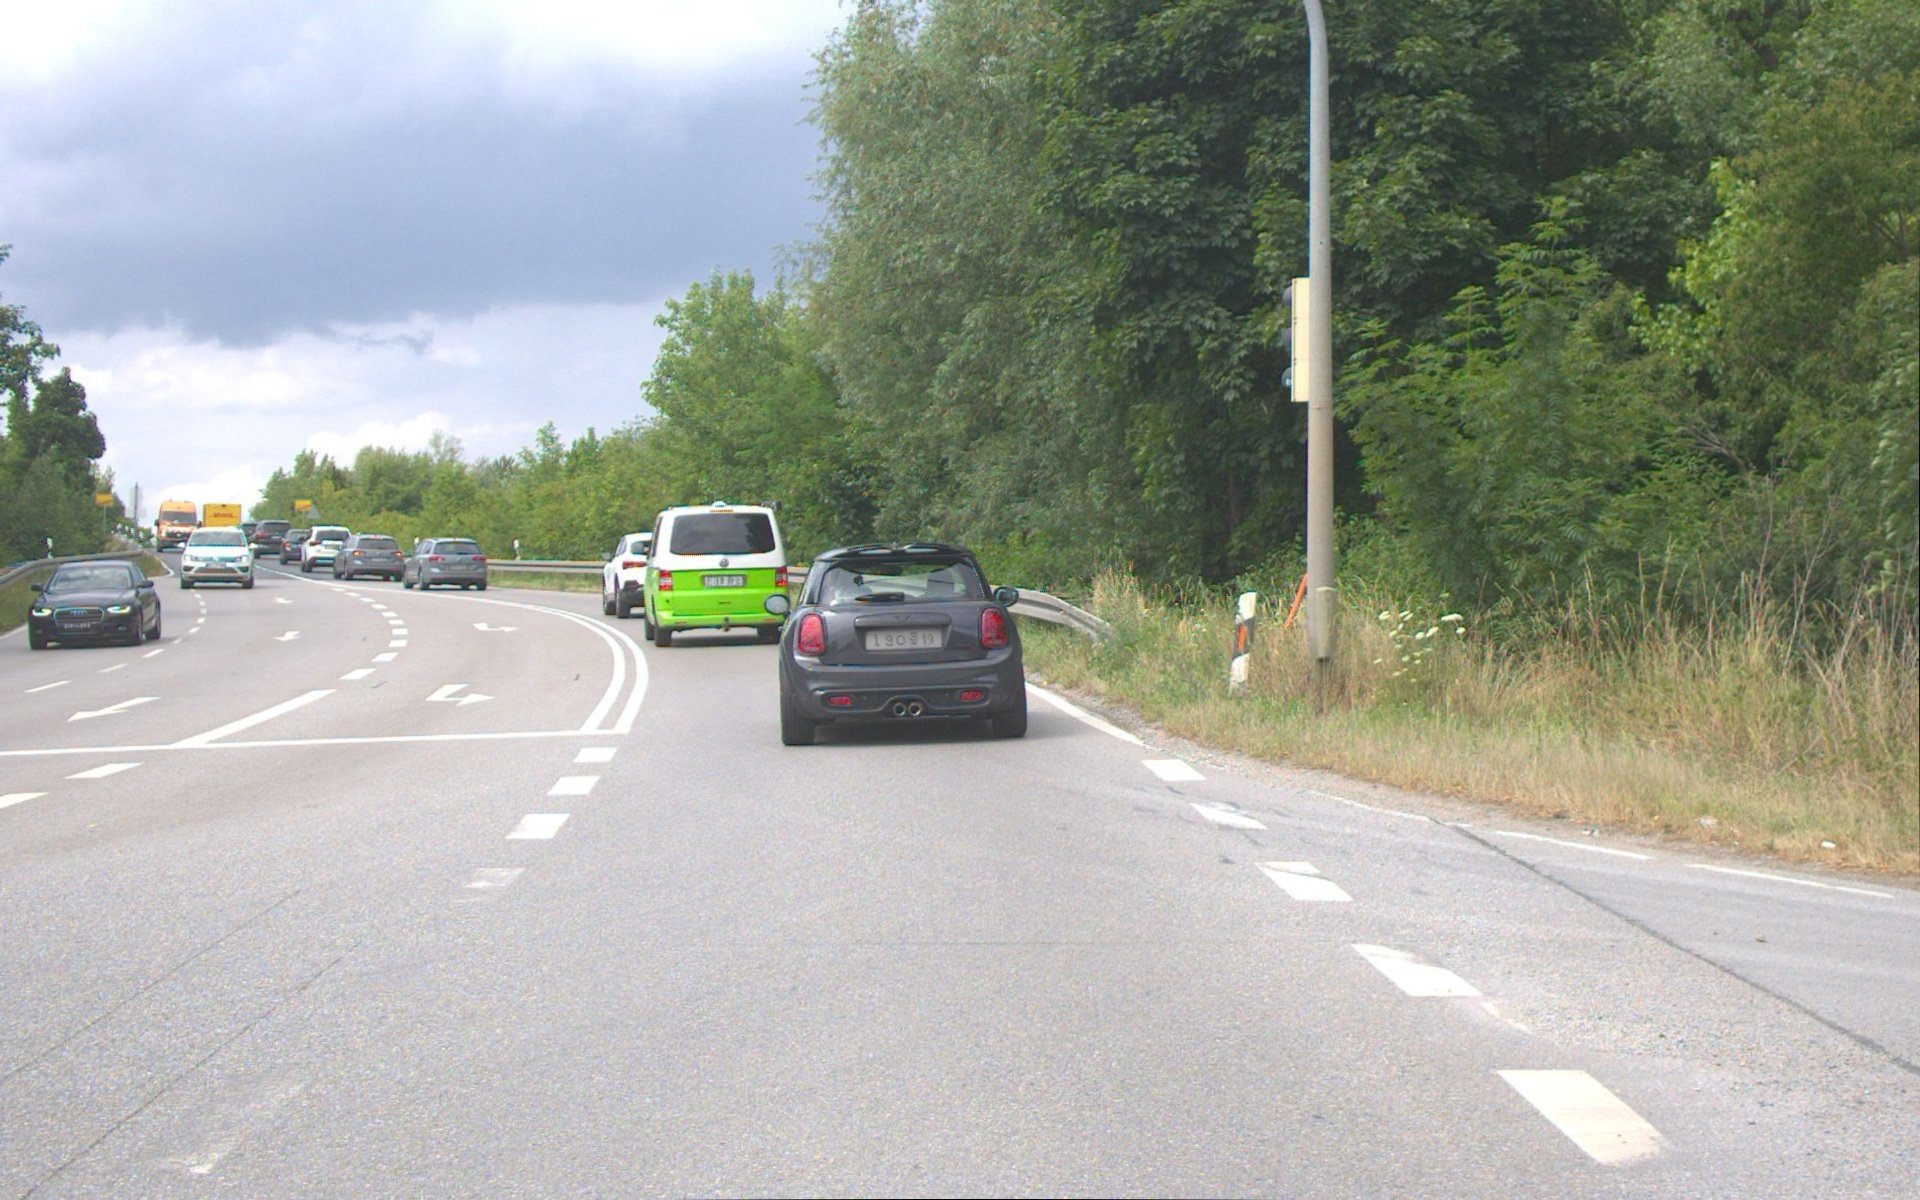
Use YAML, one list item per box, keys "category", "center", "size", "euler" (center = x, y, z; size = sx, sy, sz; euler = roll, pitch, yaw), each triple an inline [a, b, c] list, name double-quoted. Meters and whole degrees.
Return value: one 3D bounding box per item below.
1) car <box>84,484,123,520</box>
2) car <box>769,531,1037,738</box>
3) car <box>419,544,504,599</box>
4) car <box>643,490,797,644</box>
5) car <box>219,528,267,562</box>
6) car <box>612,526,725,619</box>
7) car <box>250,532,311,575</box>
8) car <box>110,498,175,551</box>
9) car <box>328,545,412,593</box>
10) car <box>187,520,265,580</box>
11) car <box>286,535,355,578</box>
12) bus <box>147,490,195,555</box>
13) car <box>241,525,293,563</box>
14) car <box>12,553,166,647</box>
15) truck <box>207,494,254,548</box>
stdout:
- category: "car"
  center: [-47.784, -5.463, 191.844]
  size: [1.993, 2.007, 4.001]
  euler: [0, 1, -12]
- category: "car"
  center: [-0.482, 0.220, 25.583]
  size: [1.844, 1.423, 3.841]
  euler: [0, 0, -3]
- category: "car"
  center: [-13.810, -0.782, 95.093]
  size: [1.993, 1.471, 4.487]
  euler: [1, 0, -12]
- category: "car"
  center: [-3.447, -0.508, 48.780]
  size: [1.844, 1.980, 3.843]
  euler: [0, 4, -9]
- category: "car"
  center: [-37.349, -2.855, 178.987]
  size: [1.993, 1.690, 4.487]
  euler: [1, 0, -18]
- category: "car"
  center: [-5.398, -0.519, 64.008]
  size: [1.993, 1.678, 4.001]
  euler: [0, 1, -3]
- category: "car"
  center: [-27.966, -1.913, 141.500]
  size: [1.993, 1.690, 4.487]
  euler: [1, 0, -17]
- category: "car"
  center: [-26.527, -2.450, 111.617]
  size: [1.993, 1.684, 4.001]
  euler: [0, 1, -13]
- category: "car"
  center: [-18.965, -0.980, 110.347]
  size: [1.993, 1.471, 4.487]
  euler: [1, 0, -19]
- category: "car"
  center: [-20.420, -1.407, 95.756]
  size: [1.993, 1.607, 4.001]
  euler: [0, 1, -10]
- category: "car"
  center: [-23.138, -1.565, 124.276]
  size: [1.993, 1.471, 4.487]
  euler: [1, 0, -16]
- category: "bus"
  center: [-40.706, -3.986, 177.221]
  size: [1.993, 3.291, 7.431]
  euler: [0, 1, -16]
- category: "car"
  center: [-32.110, -2.569, 159.263]
  size: [1.993, 1.690, 4.487]
  euler: [1, 0, -16]
- category: "car"
  center: [-14.603, -0.031, 57.830]
  size: [1.737, 1.401, 4.251]
  euler: [-3, 1, -4]
- category: "truck"
  center: [-45.275, -4.872, 213.455]
  size: [2.716, 2.888, 8.772]
  euler: [1, -2, -11]
